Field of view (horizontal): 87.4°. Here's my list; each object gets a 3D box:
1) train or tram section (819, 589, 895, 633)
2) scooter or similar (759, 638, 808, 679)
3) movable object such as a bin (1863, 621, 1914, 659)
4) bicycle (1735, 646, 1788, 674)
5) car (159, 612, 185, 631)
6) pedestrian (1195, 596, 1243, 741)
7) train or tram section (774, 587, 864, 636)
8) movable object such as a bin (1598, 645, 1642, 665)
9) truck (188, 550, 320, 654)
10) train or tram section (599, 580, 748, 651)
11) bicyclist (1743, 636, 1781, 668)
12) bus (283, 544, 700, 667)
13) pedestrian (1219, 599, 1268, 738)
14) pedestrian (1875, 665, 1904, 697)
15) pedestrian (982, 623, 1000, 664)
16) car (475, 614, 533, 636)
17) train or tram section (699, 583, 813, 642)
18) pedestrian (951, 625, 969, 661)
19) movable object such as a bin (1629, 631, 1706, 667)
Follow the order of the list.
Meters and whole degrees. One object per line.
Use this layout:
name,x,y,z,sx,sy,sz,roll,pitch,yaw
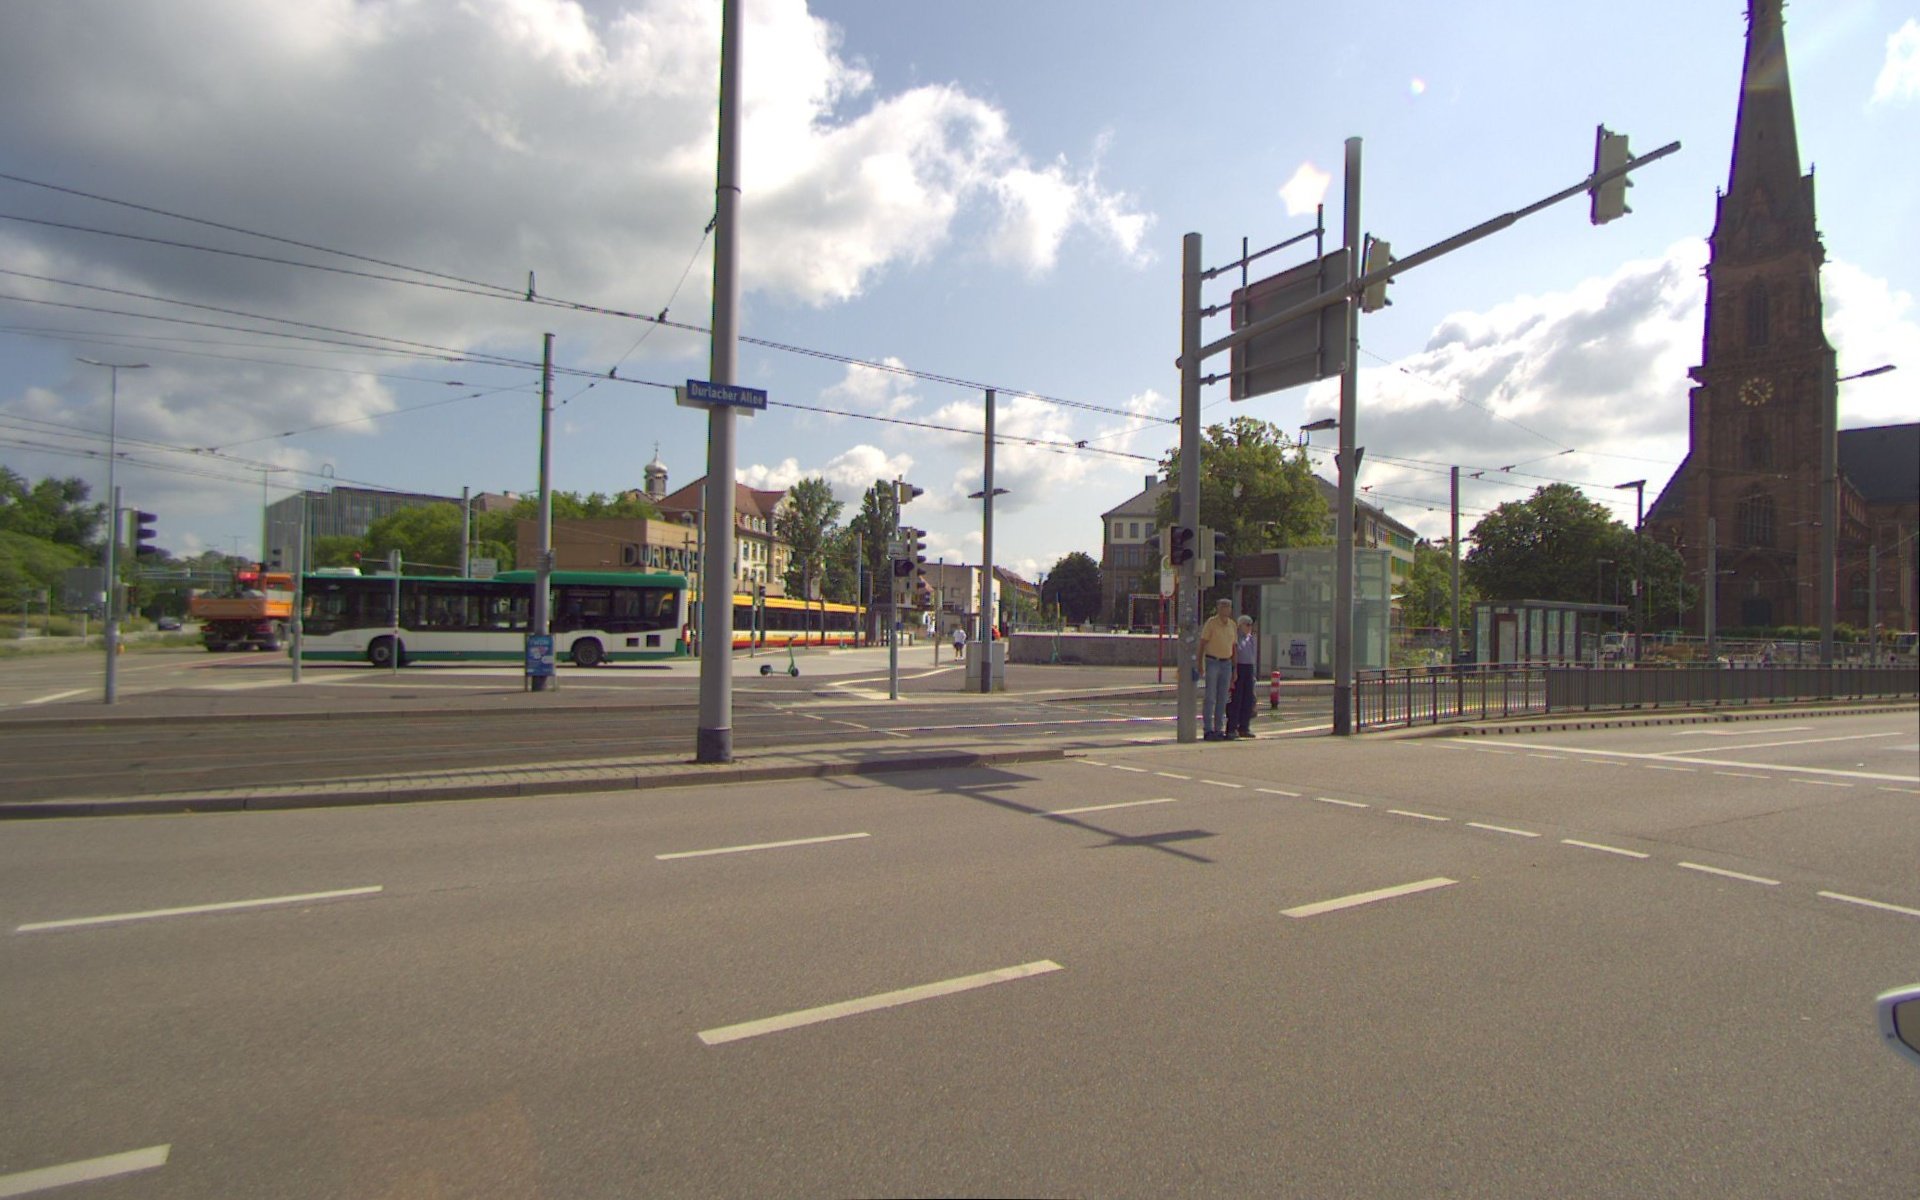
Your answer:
train or tram section,-8.645,0.903,85.679,3.257,3.527,10.614,-1,0,12
scooter or similar,-5.212,1.717,29.715,1.159,1.182,0.803,2,-2,-41
movable object such as a bin,79.148,3.375,85.590,3.949,3.147,1.986,0,0,-28
bicycle,43.556,3.255,54.583,3.655,1.445,1.186,2,-2,-34
car,-78.240,2.152,99.758,1.982,1.778,3.957,2,-2,-38
pedestrian,3.740,0.980,14.487,0.574,2.040,0.421,2,-2,-43
train or tram section,-10.575,0.857,76.900,3.257,3.527,10.614,-1,0,12
movable object such as a bin,53.727,4.453,81.705,5.121,1.522,1.974,3,-3,-44
truck,-30.496,0.189,43.794,2.795,4.061,8.031,1,-2,-22
train or tram section,-15.393,0.819,55.225,3.257,3.527,10.614,-1,0,12
bicyclist,43.581,2.806,54.596,1.667,1.706,1.171,2,-2,-33
bus,-15.194,0.339,33.884,12.191,3.668,2.903,2,-2,-21
pedestrian,4.248,1.011,15.065,0.512,2.040,0.497,2,-2,-43
pedestrian,60.366,5.243,65.232,1.038,2.040,1.061,2,-2,-28
pedestrian,1.406,1.953,44.960,0.706,1.817,0.563,1,-1,11
car,-38.254,2.087,84.347,3.919,1.806,2.001,1,-1,5
train or tram section,-13.043,0.784,65.667,3.257,3.527,10.614,-1,0,12
pedestrian,0.009,2.089,48.811,0.766,1.694,0.721,1,-1,8
movable object such as a bin,60.726,4.170,86.287,1.982,2.949,5.099,2,-2,-38
